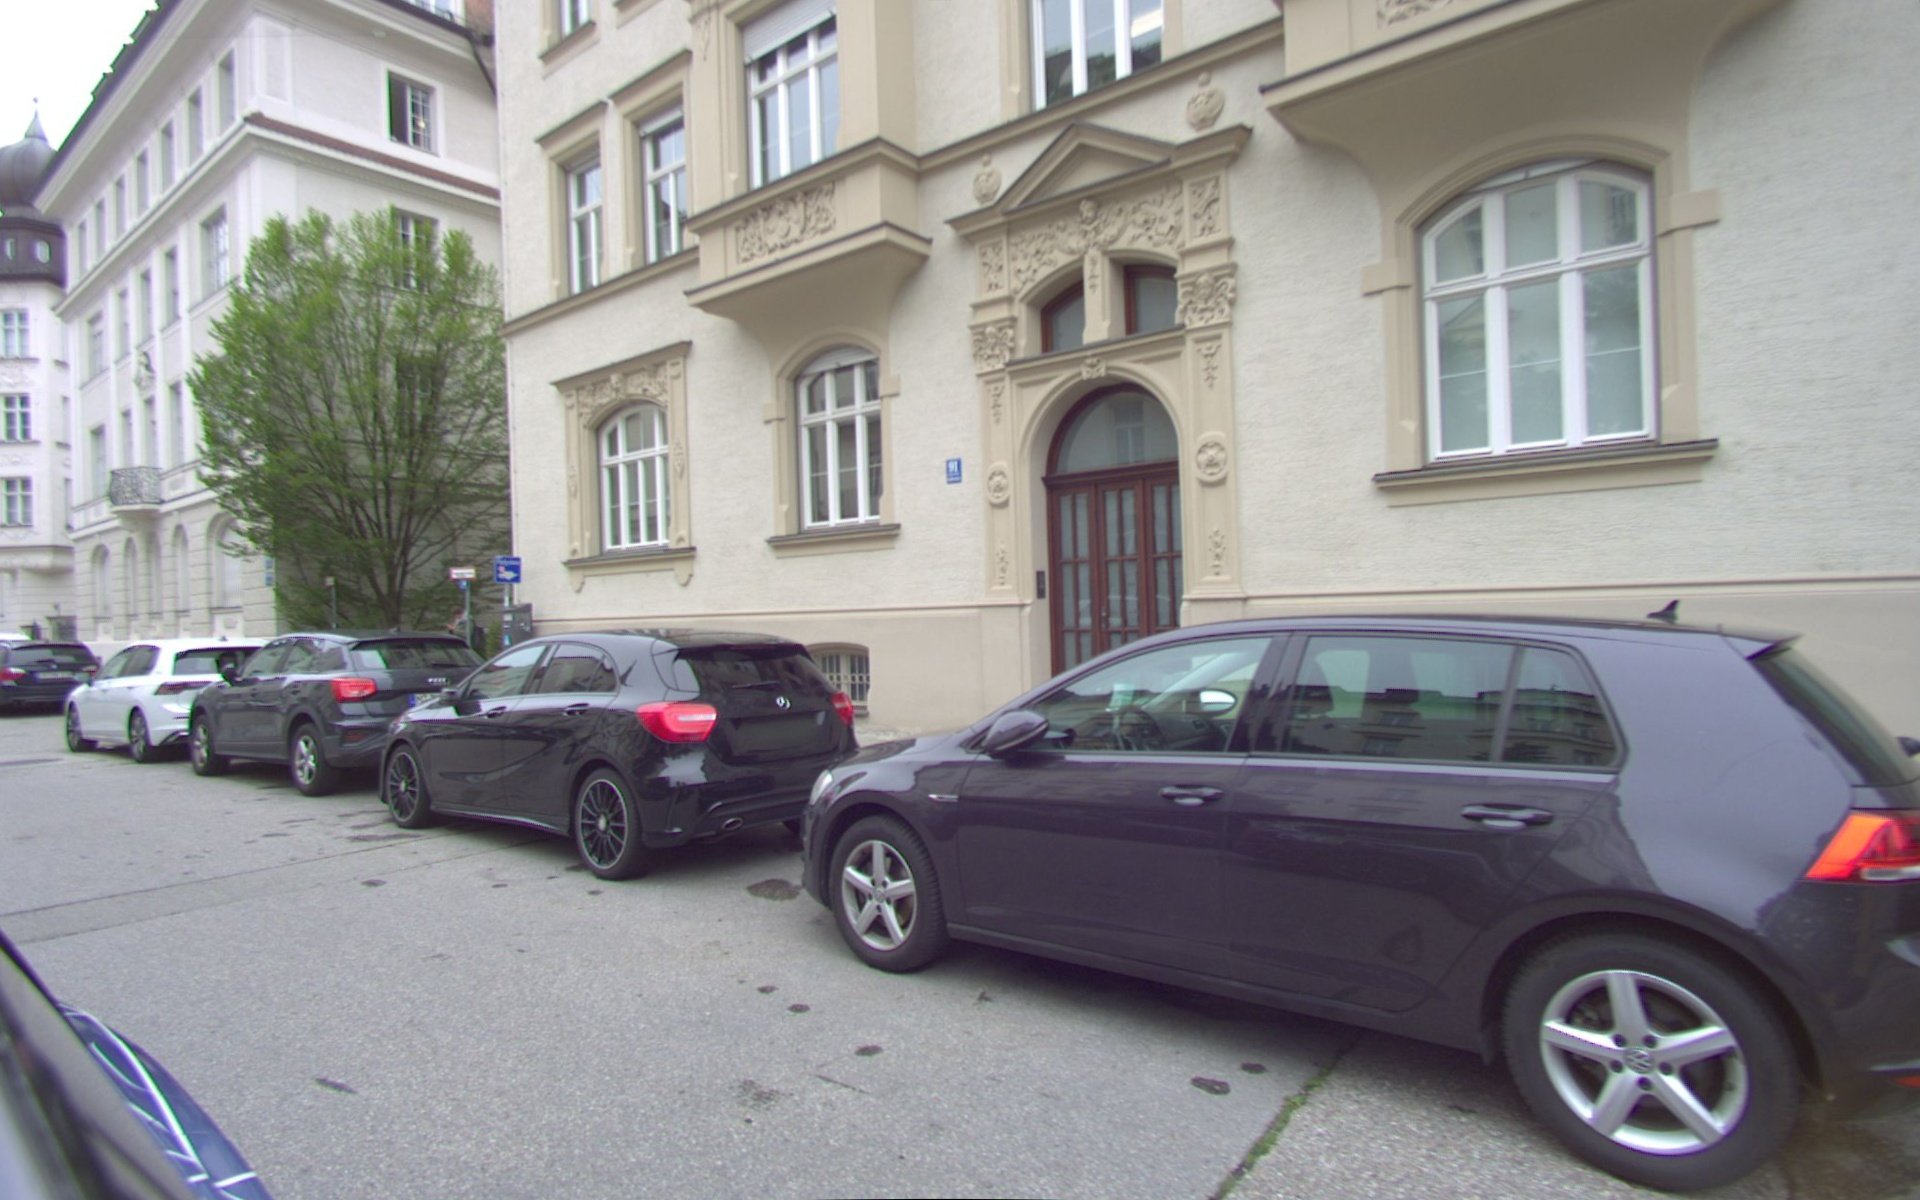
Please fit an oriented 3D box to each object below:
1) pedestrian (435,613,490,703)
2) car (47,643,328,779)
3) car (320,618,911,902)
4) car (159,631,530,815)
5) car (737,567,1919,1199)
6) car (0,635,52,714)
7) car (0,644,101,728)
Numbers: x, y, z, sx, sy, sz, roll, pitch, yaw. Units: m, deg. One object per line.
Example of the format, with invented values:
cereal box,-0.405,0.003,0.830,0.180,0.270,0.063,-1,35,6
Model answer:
pedestrian,-9.269,1.072,18.866,0.629,1.638,0.667,-3,-1,36
car,-10.037,1.343,13.049,4.237,1.445,1.819,-3,-3,37
car,-2.679,0.939,7.288,4.546,1.445,1.816,-3,-3,37
car,-6.470,1.160,10.472,4.377,1.530,1.754,-3,-4,37
car,1.196,0.769,3.958,4.239,1.447,1.818,-3,-4,39
car,-22.068,1.699,22.691,4.238,1.631,1.819,-3,-1,38
car,-18.480,1.652,19.755,4.361,1.423,1.770,-3,-1,38
